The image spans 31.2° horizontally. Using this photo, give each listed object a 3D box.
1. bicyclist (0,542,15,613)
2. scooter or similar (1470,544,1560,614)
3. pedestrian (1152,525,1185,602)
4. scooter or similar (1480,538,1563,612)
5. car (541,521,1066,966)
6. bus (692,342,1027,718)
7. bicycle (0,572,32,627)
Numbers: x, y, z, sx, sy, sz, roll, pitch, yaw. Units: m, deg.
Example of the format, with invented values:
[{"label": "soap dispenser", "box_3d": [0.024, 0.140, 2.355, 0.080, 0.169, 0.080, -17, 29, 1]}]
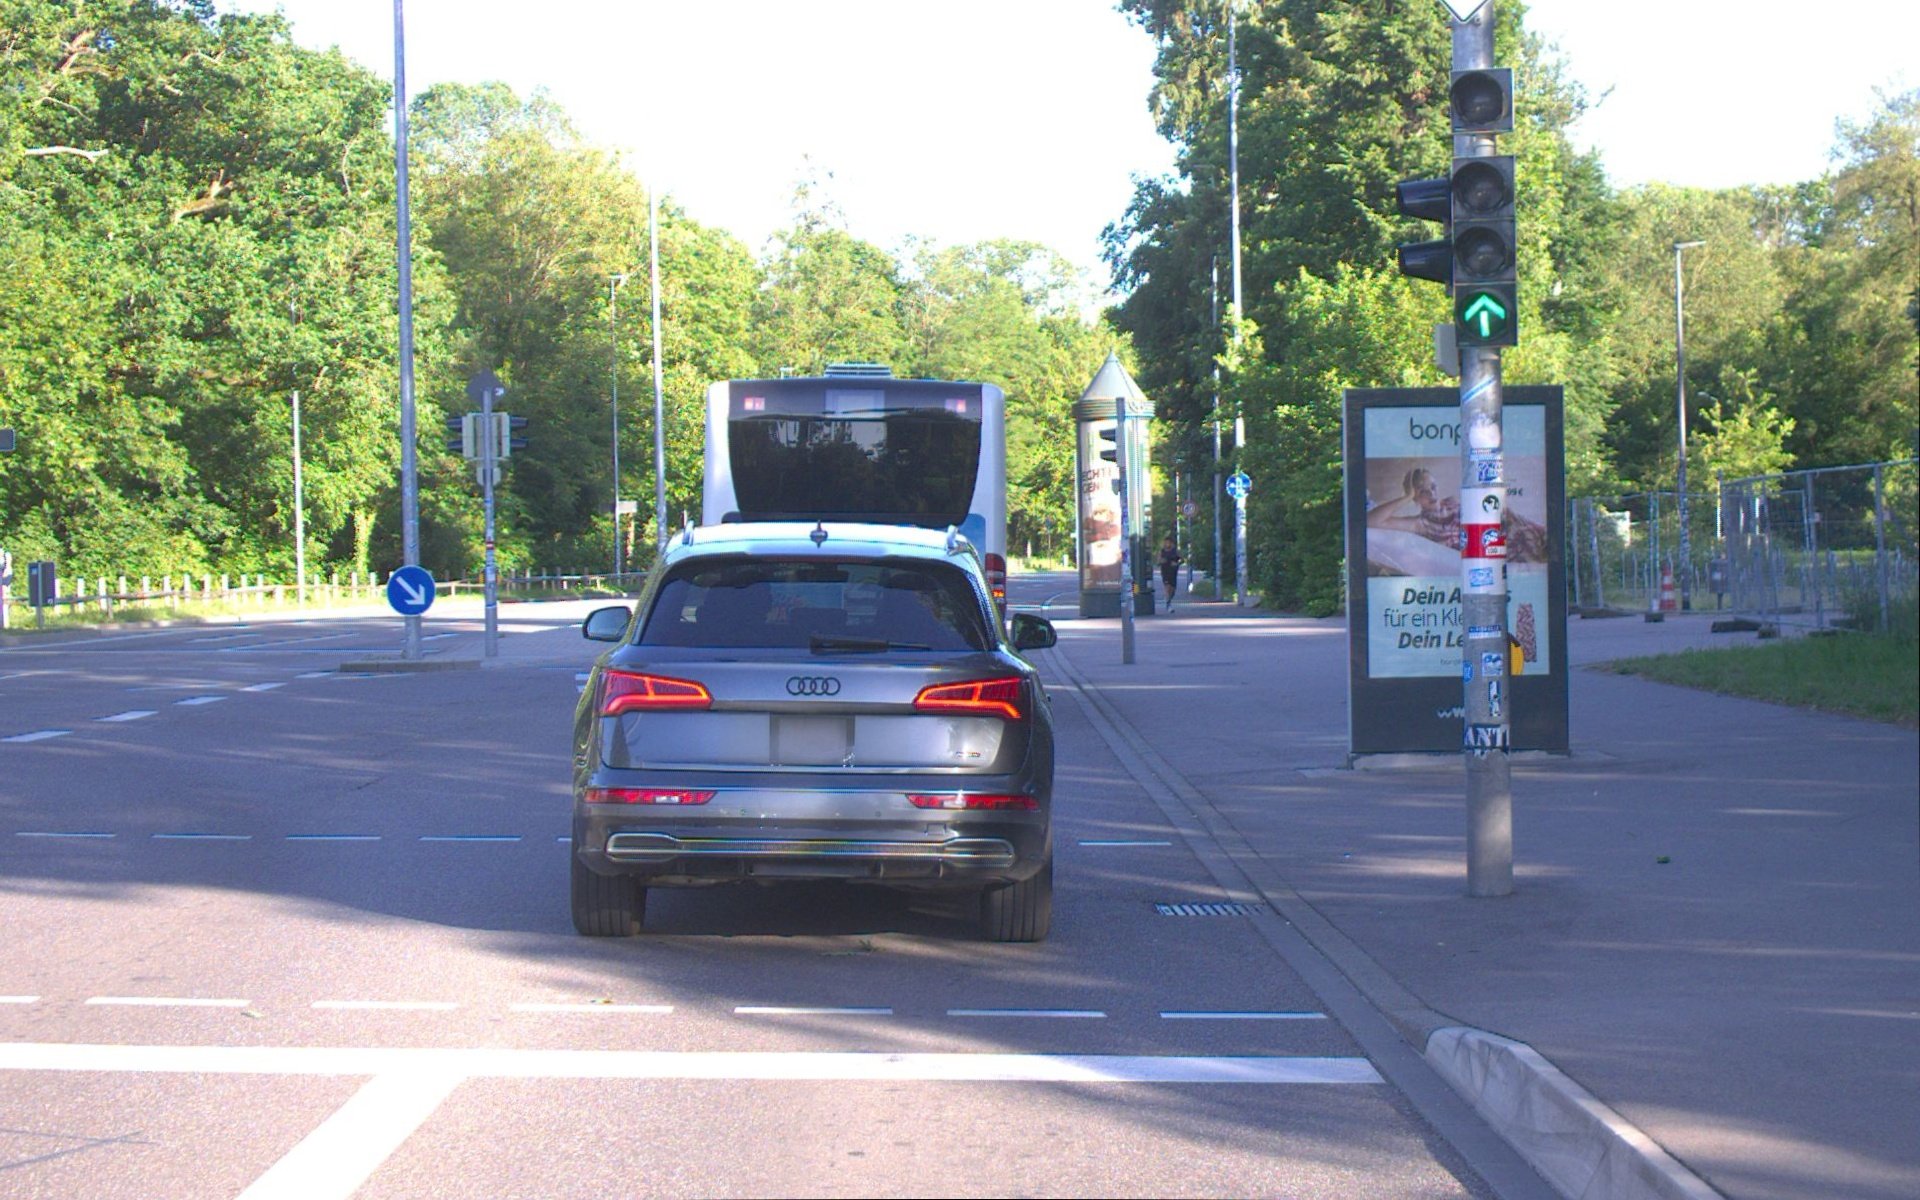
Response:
[{"label": "bicyclist", "box_3d": [-21.271, -0.494, 75.665, 0.562, 1.546, 0.799, 1, 3, 17]}, {"label": "scooter or similar", "box_3d": [9.518, -0.352, 58.956, 1.441, 1.163, 0.393, -2, -1, 29]}, {"label": "pedestrian", "box_3d": [4.591, -0.808, 75.730, 0.626, 1.682, 0.882, 1, 1, 9]}, {"label": "scooter or similar", "box_3d": [9.056, -0.399, 55.426, 1.266, 1.143, 0.394, -2, -1, 8]}, {"label": "car", "box_3d": [-0.603, 0.486, 14.820, 1.893, 1.600, 4.545, 1, 1, -1]}, {"label": "bus", "box_3d": [-0.900, -0.646, 34.022, 2.689, 3.032, 12.042, 1, 1, -1]}, {"label": "bicycle", "box_3d": [-21.283, 0.000, 75.646, 0.680, 1.150, 1.983, 1, 3, 18]}]
